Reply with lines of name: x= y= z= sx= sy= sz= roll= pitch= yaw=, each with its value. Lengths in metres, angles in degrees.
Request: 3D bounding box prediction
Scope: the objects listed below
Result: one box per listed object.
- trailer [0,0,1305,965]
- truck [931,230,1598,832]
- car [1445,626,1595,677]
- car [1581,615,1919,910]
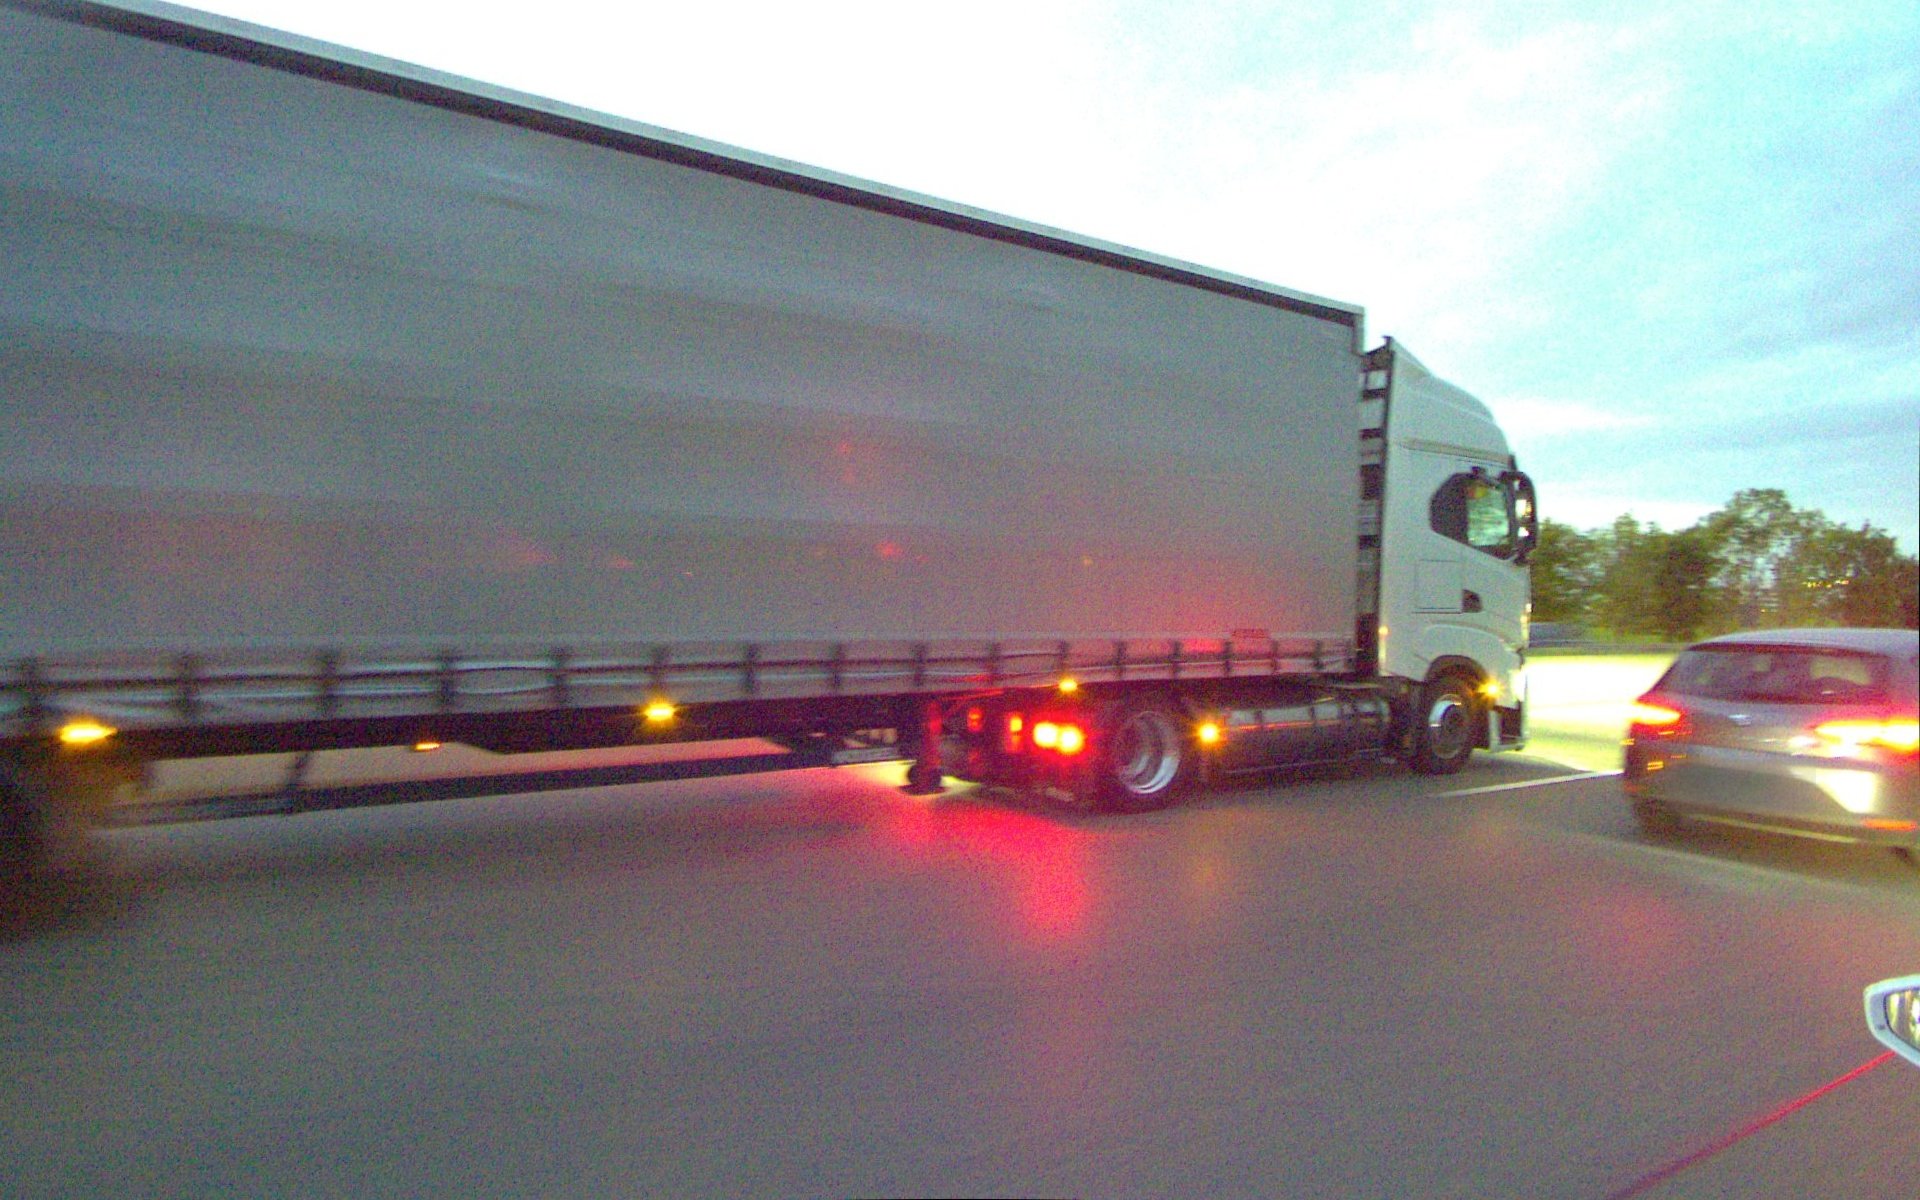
trailer: x=-4.203 y=-0.588 z=5.401 sx=14.355 sy=4.139 sz=2.781 roll=2 pitch=-1 yaw=-30
truck: x=3.038 y=-0.385 z=9.639 sx=6.031 sy=4.146 sz=2.765 roll=2 pitch=-1 yaw=-30
car: x=14.636 y=1.322 z=26.204 sx=3.954 sy=1.194 sz=1.657 roll=2 pitch=0 yaw=-31
car: x=6.561 y=0.913 z=7.124 sx=4.672 sy=1.491 sz=1.714 roll=2 pitch=0 yaw=-31
